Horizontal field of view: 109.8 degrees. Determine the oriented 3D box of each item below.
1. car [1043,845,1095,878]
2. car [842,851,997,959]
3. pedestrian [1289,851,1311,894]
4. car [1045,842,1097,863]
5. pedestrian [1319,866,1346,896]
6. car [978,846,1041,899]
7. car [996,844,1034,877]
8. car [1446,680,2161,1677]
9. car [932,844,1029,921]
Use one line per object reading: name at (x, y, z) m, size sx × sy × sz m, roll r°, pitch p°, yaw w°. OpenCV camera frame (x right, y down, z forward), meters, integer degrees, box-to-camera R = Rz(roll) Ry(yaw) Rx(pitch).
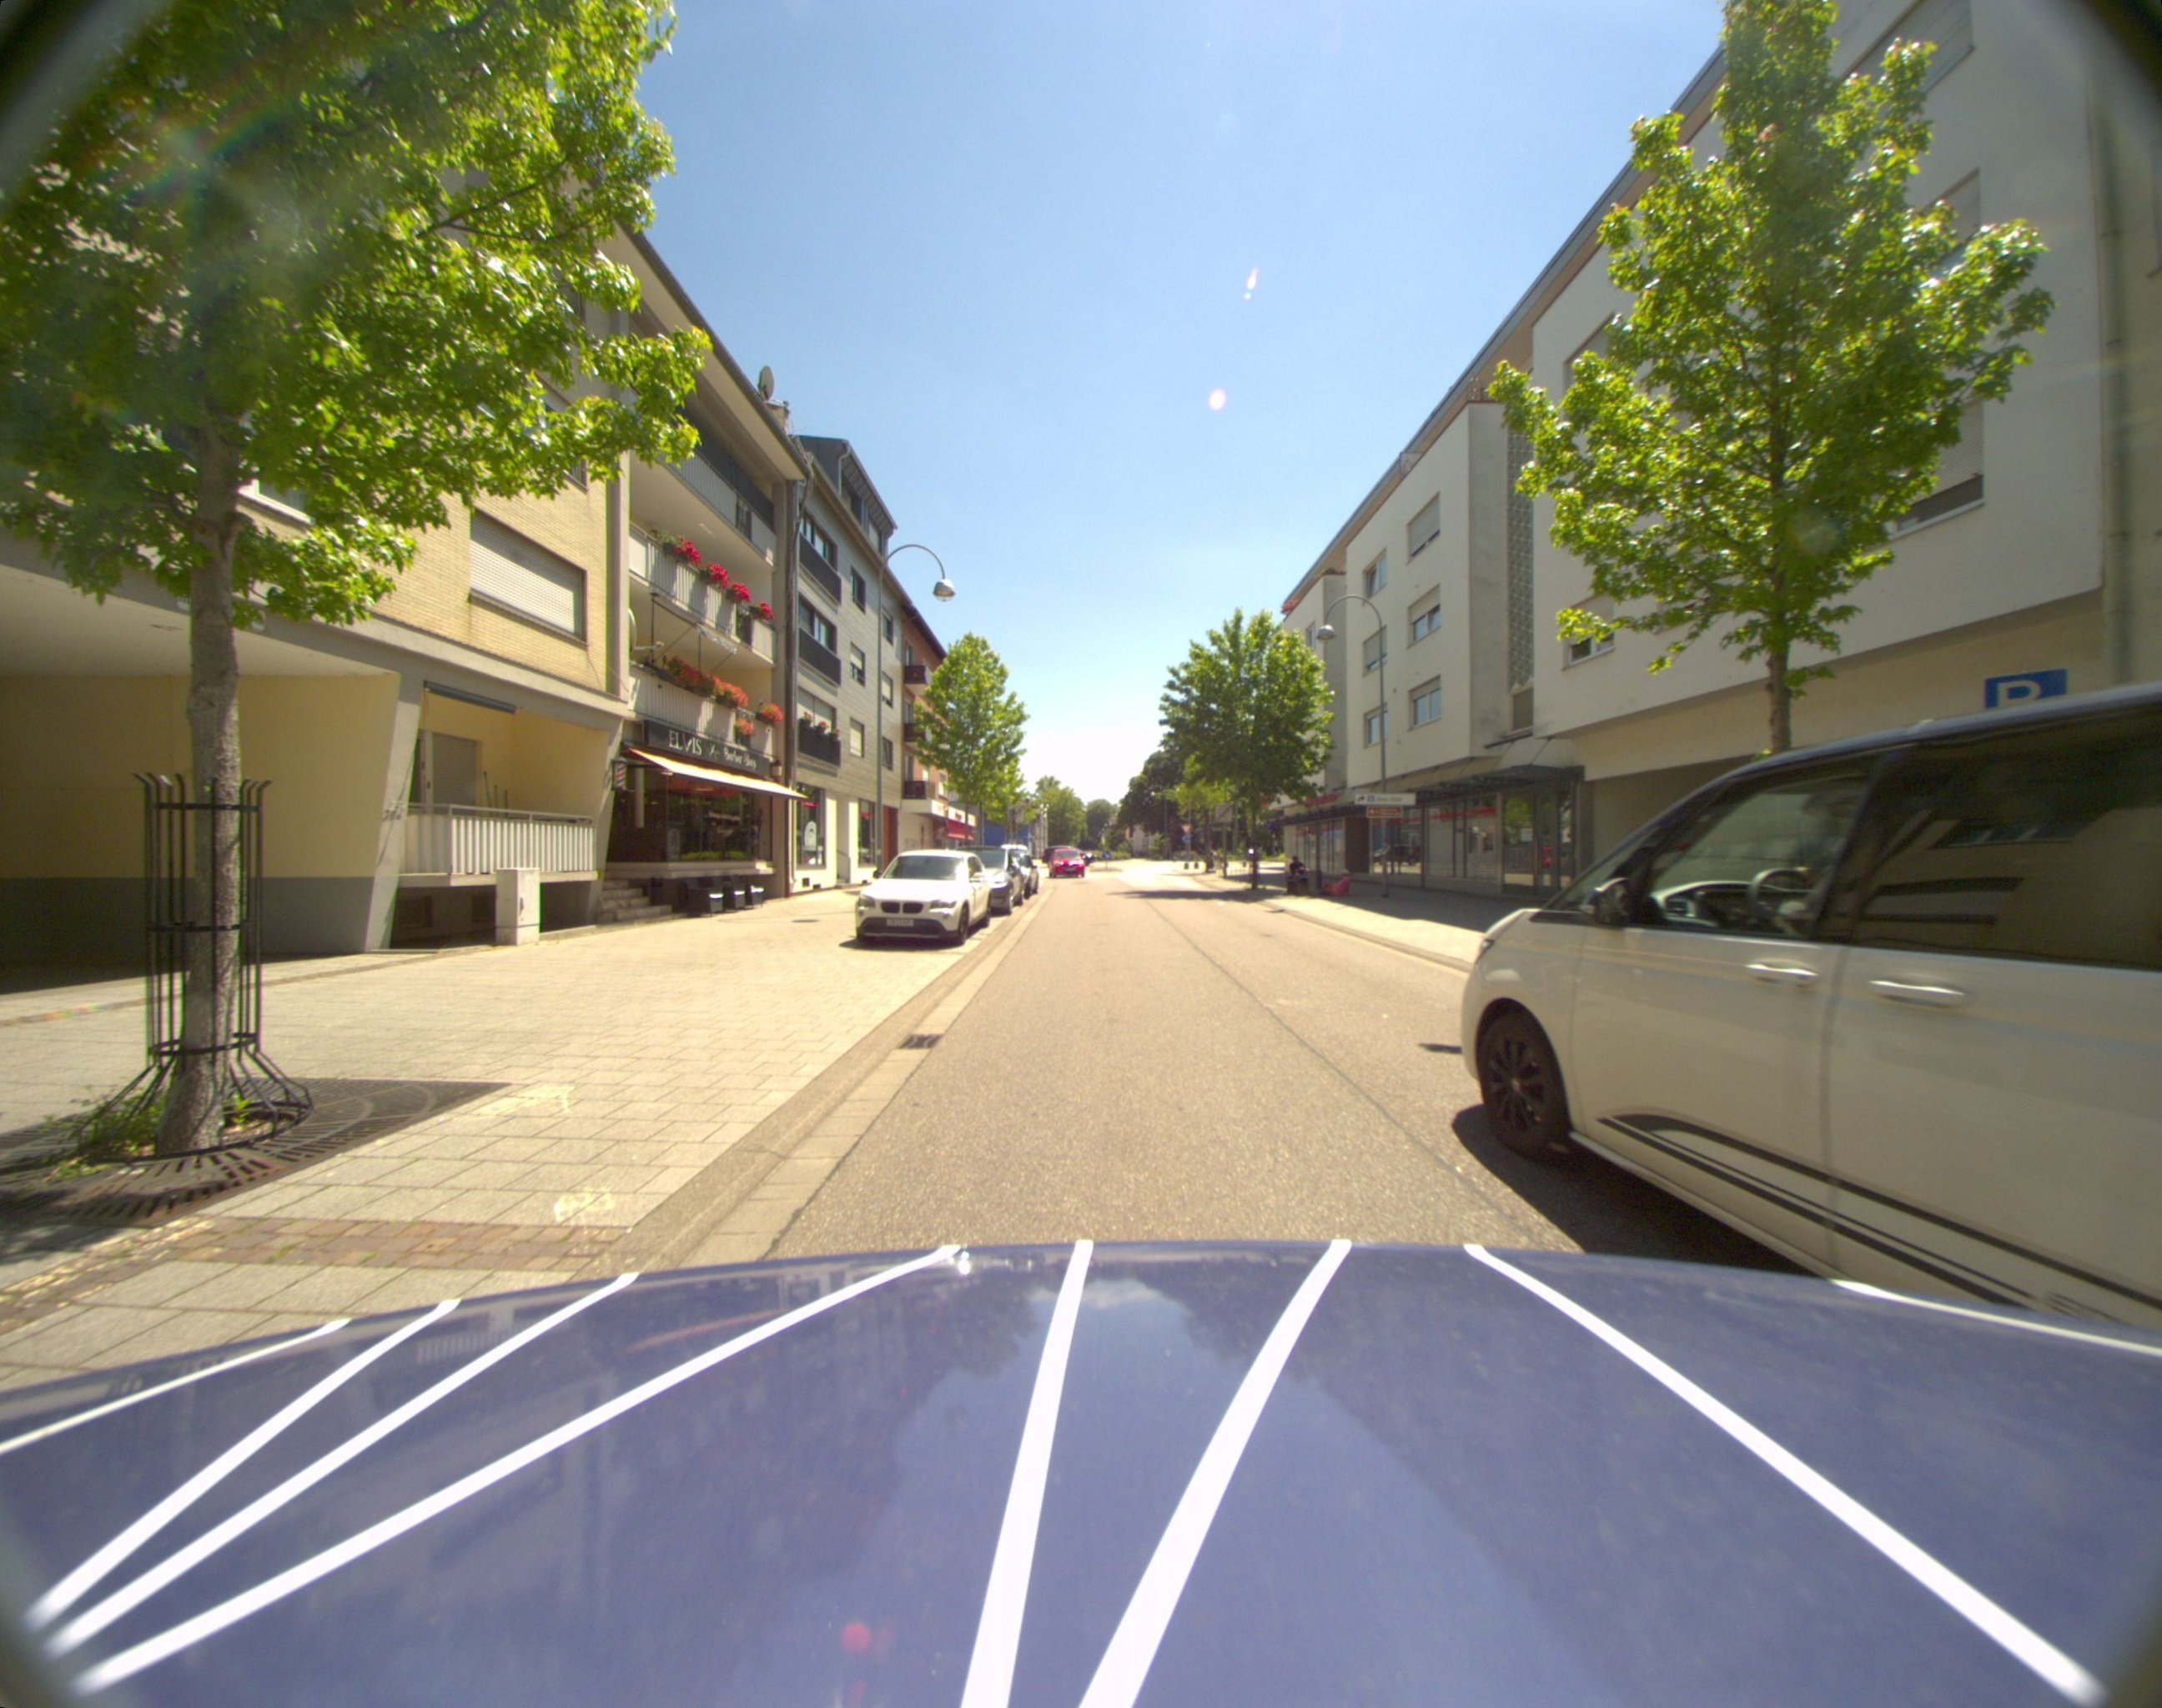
car at (-0.695, 0.373, 40.479) m, size 1.835 × 1.525 × 3.993 m, roll -2°, pitch 2°, yaw -15°
car at (-2.709, 0.771, 13.721) m, size 1.726 × 1.574 × 4.225 m, roll 1°, pitch 1°, yaw 2°
pedestrian at (7.036, 0.584, 24.427) m, size 0.568 × 1.364 × 0.667 m, roll 1°, pitch 2°, yaw 10°
car at (-0.814, -0.115, 63.152) m, size 3.993 × 1.554 × 1.806 m, roll 1°, pitch -2°, yaw 11°
pedestrian at (7.830, 0.831, 23.688) m, size 0.666 × 0.854 × 0.733 m, roll 1°, pitch 5°, yaw 10°
car at (-2.218, 0.532, 24.476) m, size 1.626 × 1.550 × 3.840 m, roll 0°, pitch 1°, yaw 1°
car at (-3.715, 0.303, 42.342) m, size 1.753 × 1.714 × 3.906 m, roll 1°, pitch 0°, yaw -10°
car at (3.038, 0.633, 1.800) m, size 1.912 × 1.911 × 4.905 m, roll 1°, pitch 1°, yaw 0°
car at (-2.444, 0.625, 19.574) m, size 1.768 × 1.696 × 4.705 m, roll 1°, pitch 1°, yaw 1°
